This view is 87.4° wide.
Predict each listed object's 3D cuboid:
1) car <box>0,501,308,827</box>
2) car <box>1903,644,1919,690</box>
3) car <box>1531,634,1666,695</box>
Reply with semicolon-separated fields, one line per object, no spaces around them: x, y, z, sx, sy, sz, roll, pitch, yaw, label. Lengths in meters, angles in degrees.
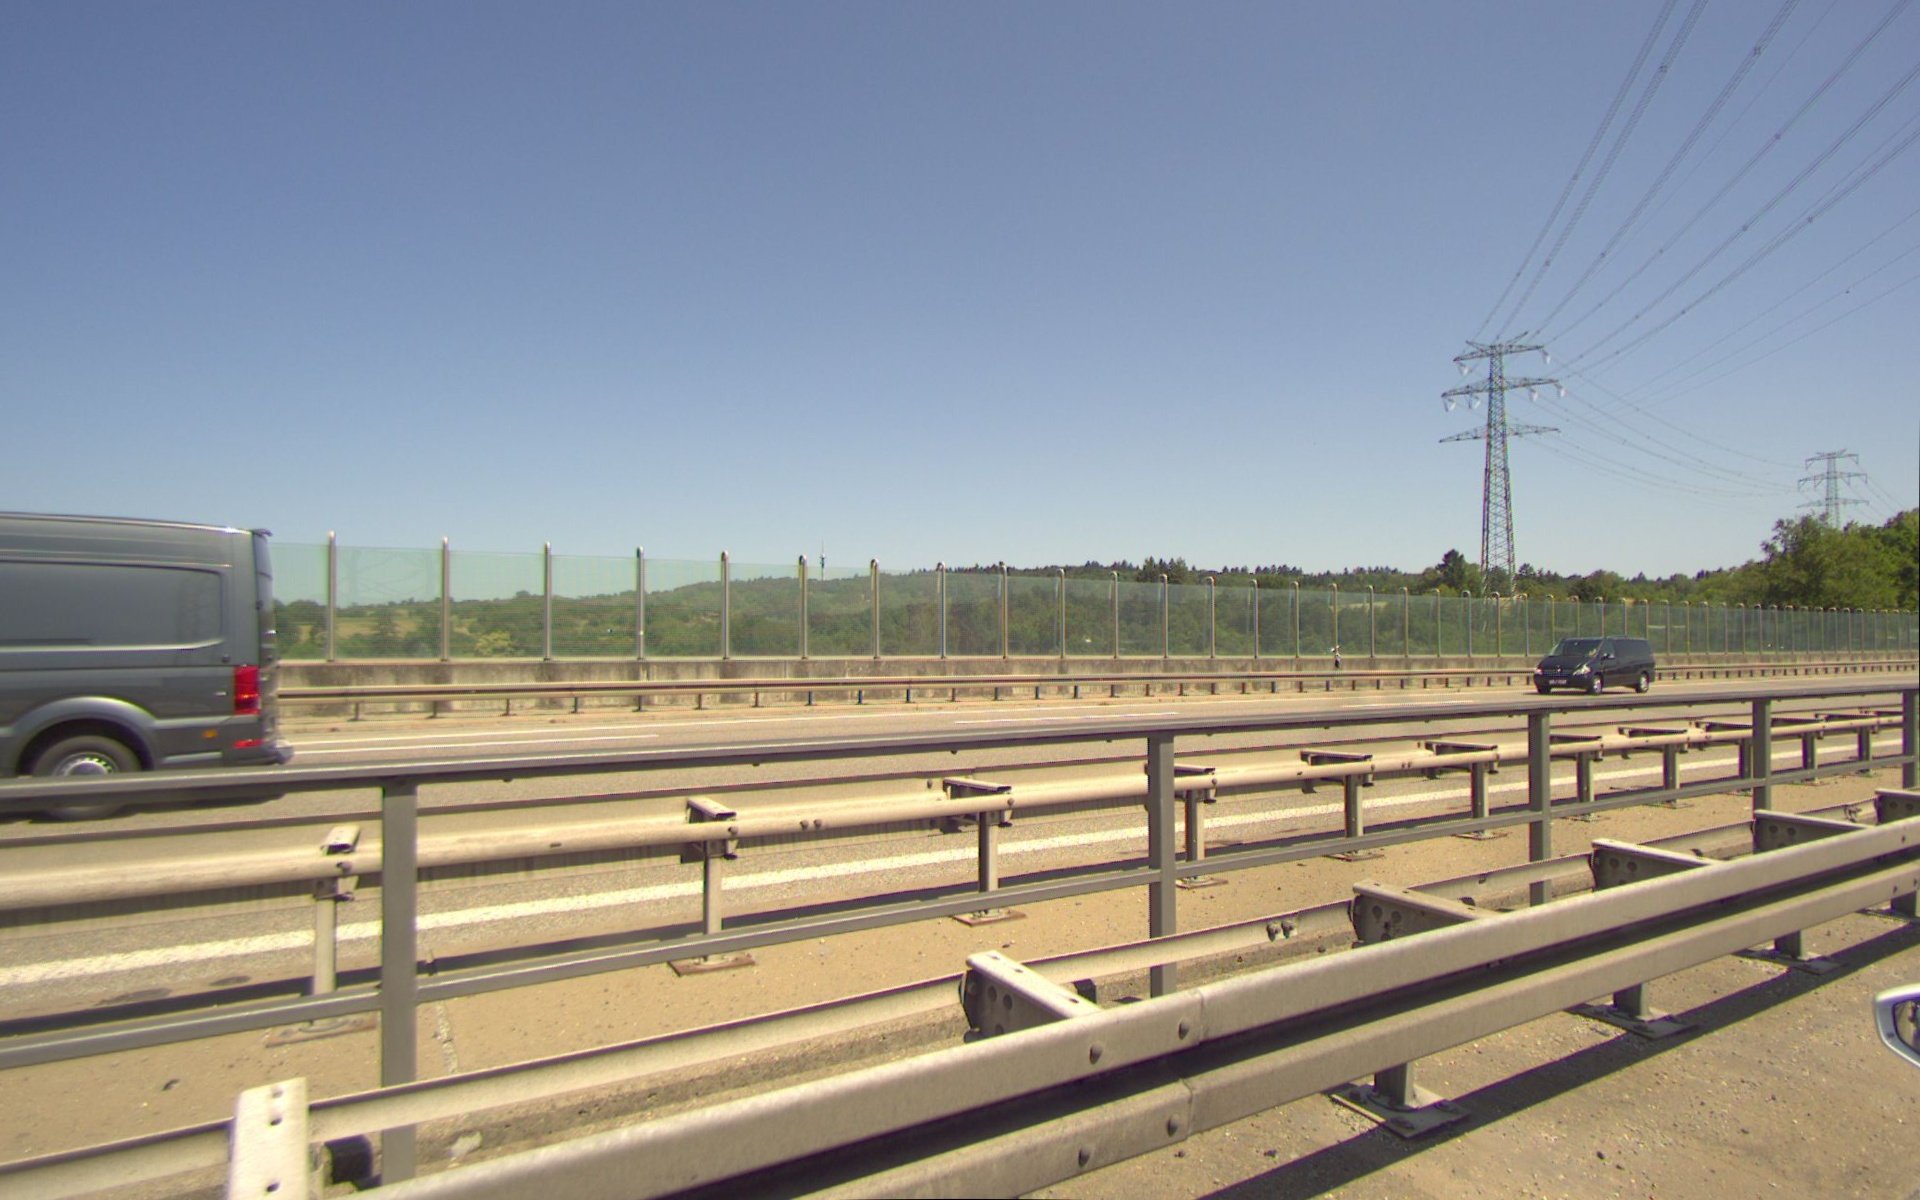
-9.327;0.512;8.199;6.577;2.615;1.983;2;-4;-32;car
34.746;2.331;34.728;4.334;1.564;1.984;2;-3;-30;car
21.633;2.164;33.983;4.896;1.930;1.947;2;-3;-32;car
